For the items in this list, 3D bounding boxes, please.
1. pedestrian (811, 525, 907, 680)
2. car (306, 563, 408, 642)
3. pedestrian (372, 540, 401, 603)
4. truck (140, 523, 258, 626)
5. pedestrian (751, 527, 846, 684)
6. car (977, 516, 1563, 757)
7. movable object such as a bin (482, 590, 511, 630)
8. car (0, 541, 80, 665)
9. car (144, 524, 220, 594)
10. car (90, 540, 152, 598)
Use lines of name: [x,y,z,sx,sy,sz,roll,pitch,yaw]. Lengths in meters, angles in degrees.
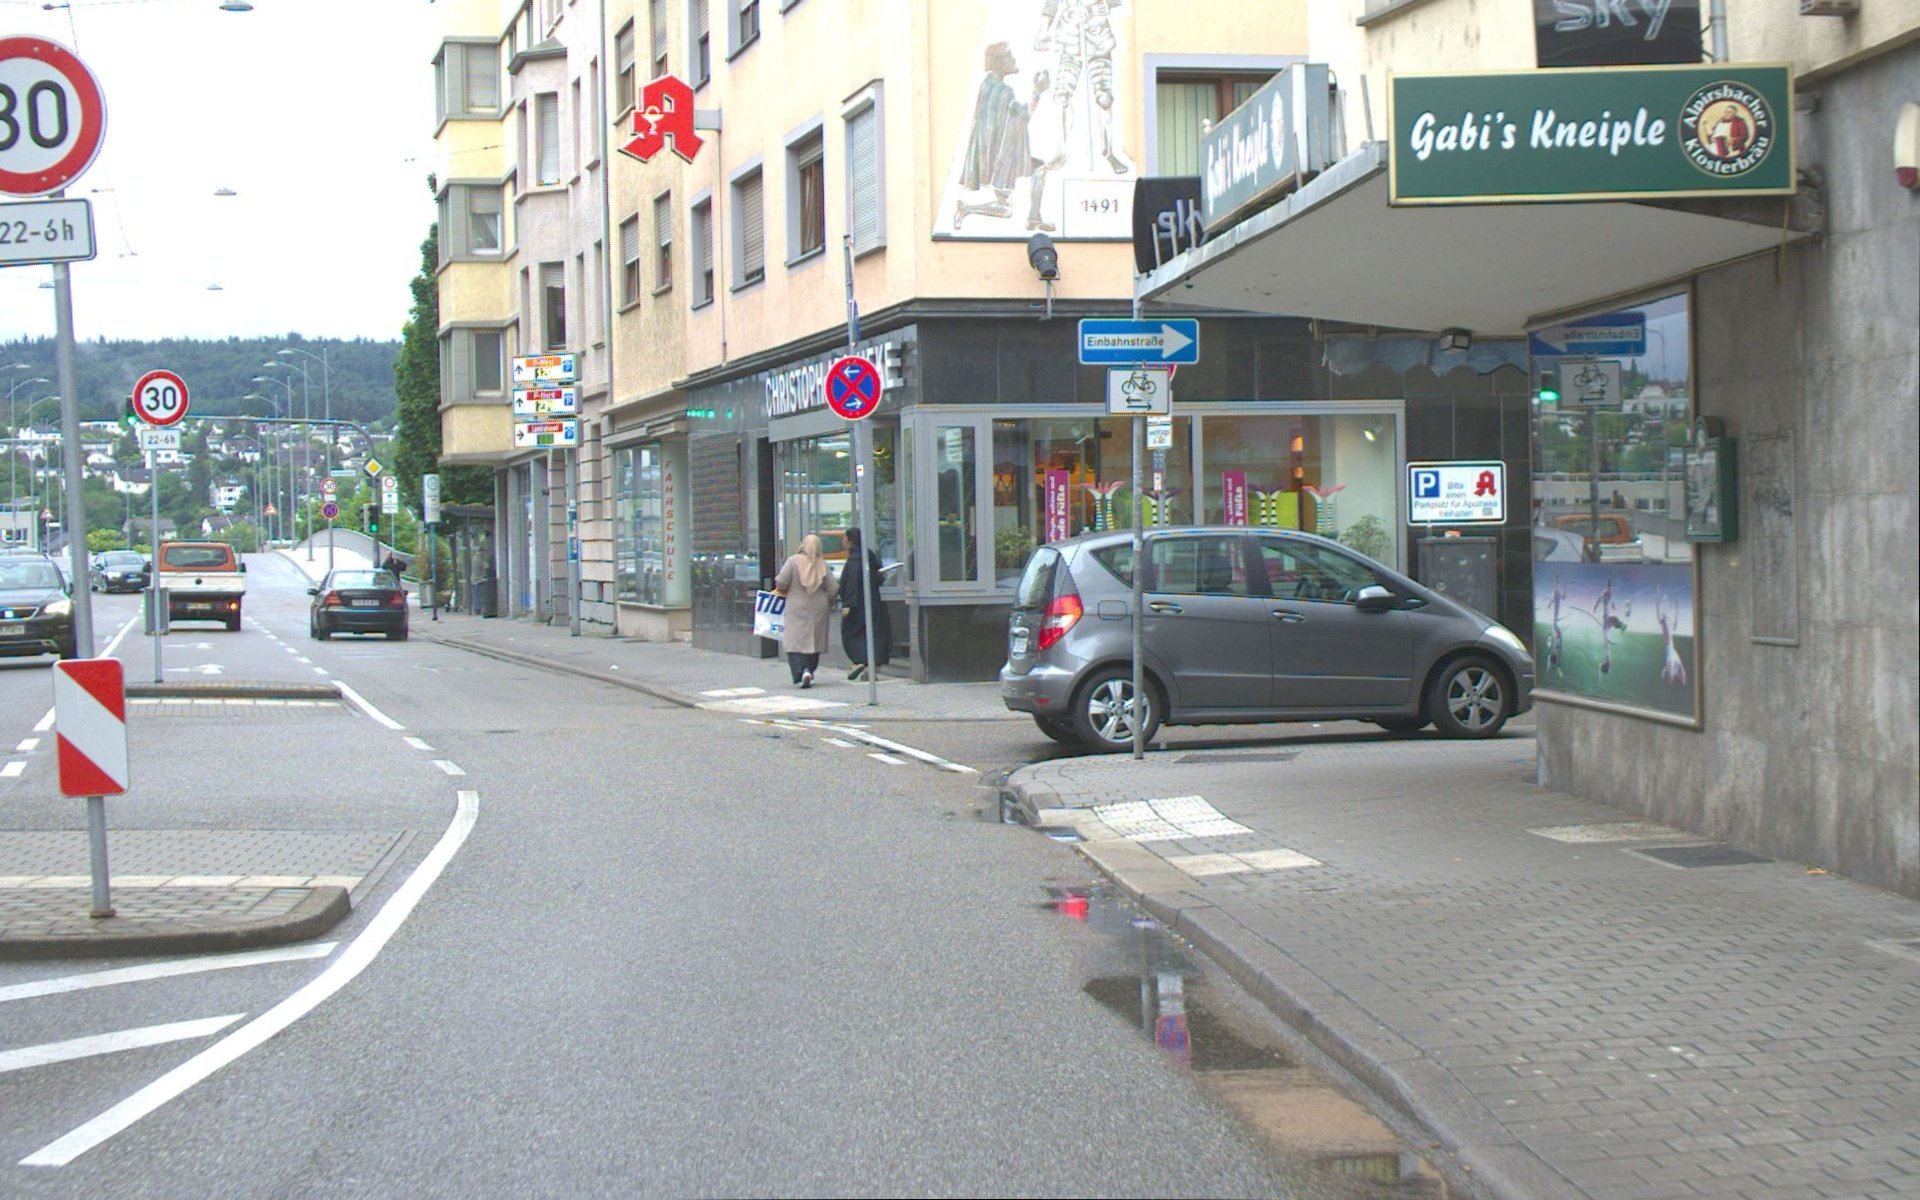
pedestrian: [-1.040,0.020,35.296,0.768,1.554,0.876,-2,0,-14]
car: [-11.705,0.036,66.603,1.753,1.474,4.001,-1,0,-13]
pedestrian: [-16.876,-0.826,101.142,0.732,1.835,0.631,-2,0,-14]
truck: [-16.777,-0.562,75.693,2.399,2.122,5.316,-2,1,-13]
pedestrian: [-1.648,0.050,34.924,0.778,1.554,0.783,-2,0,-14]
car: [2.195,0.237,24.957,3.824,1.568,1.937,-2,0,-10]
movable object such as a bin: [-10.873,0.234,80.618,0.600,0.923,0.705,-2,0,-13]
car: [-13.562,0.012,49.272,1.742,1.656,4.419,-2,2,-14]
car: [-23.424,-1.216,103.403,1.993,2.007,4.001,-2,1,-15]
car: [-30.039,-1.089,122.977,1.993,2.007,4.001,-2,1,-15]
